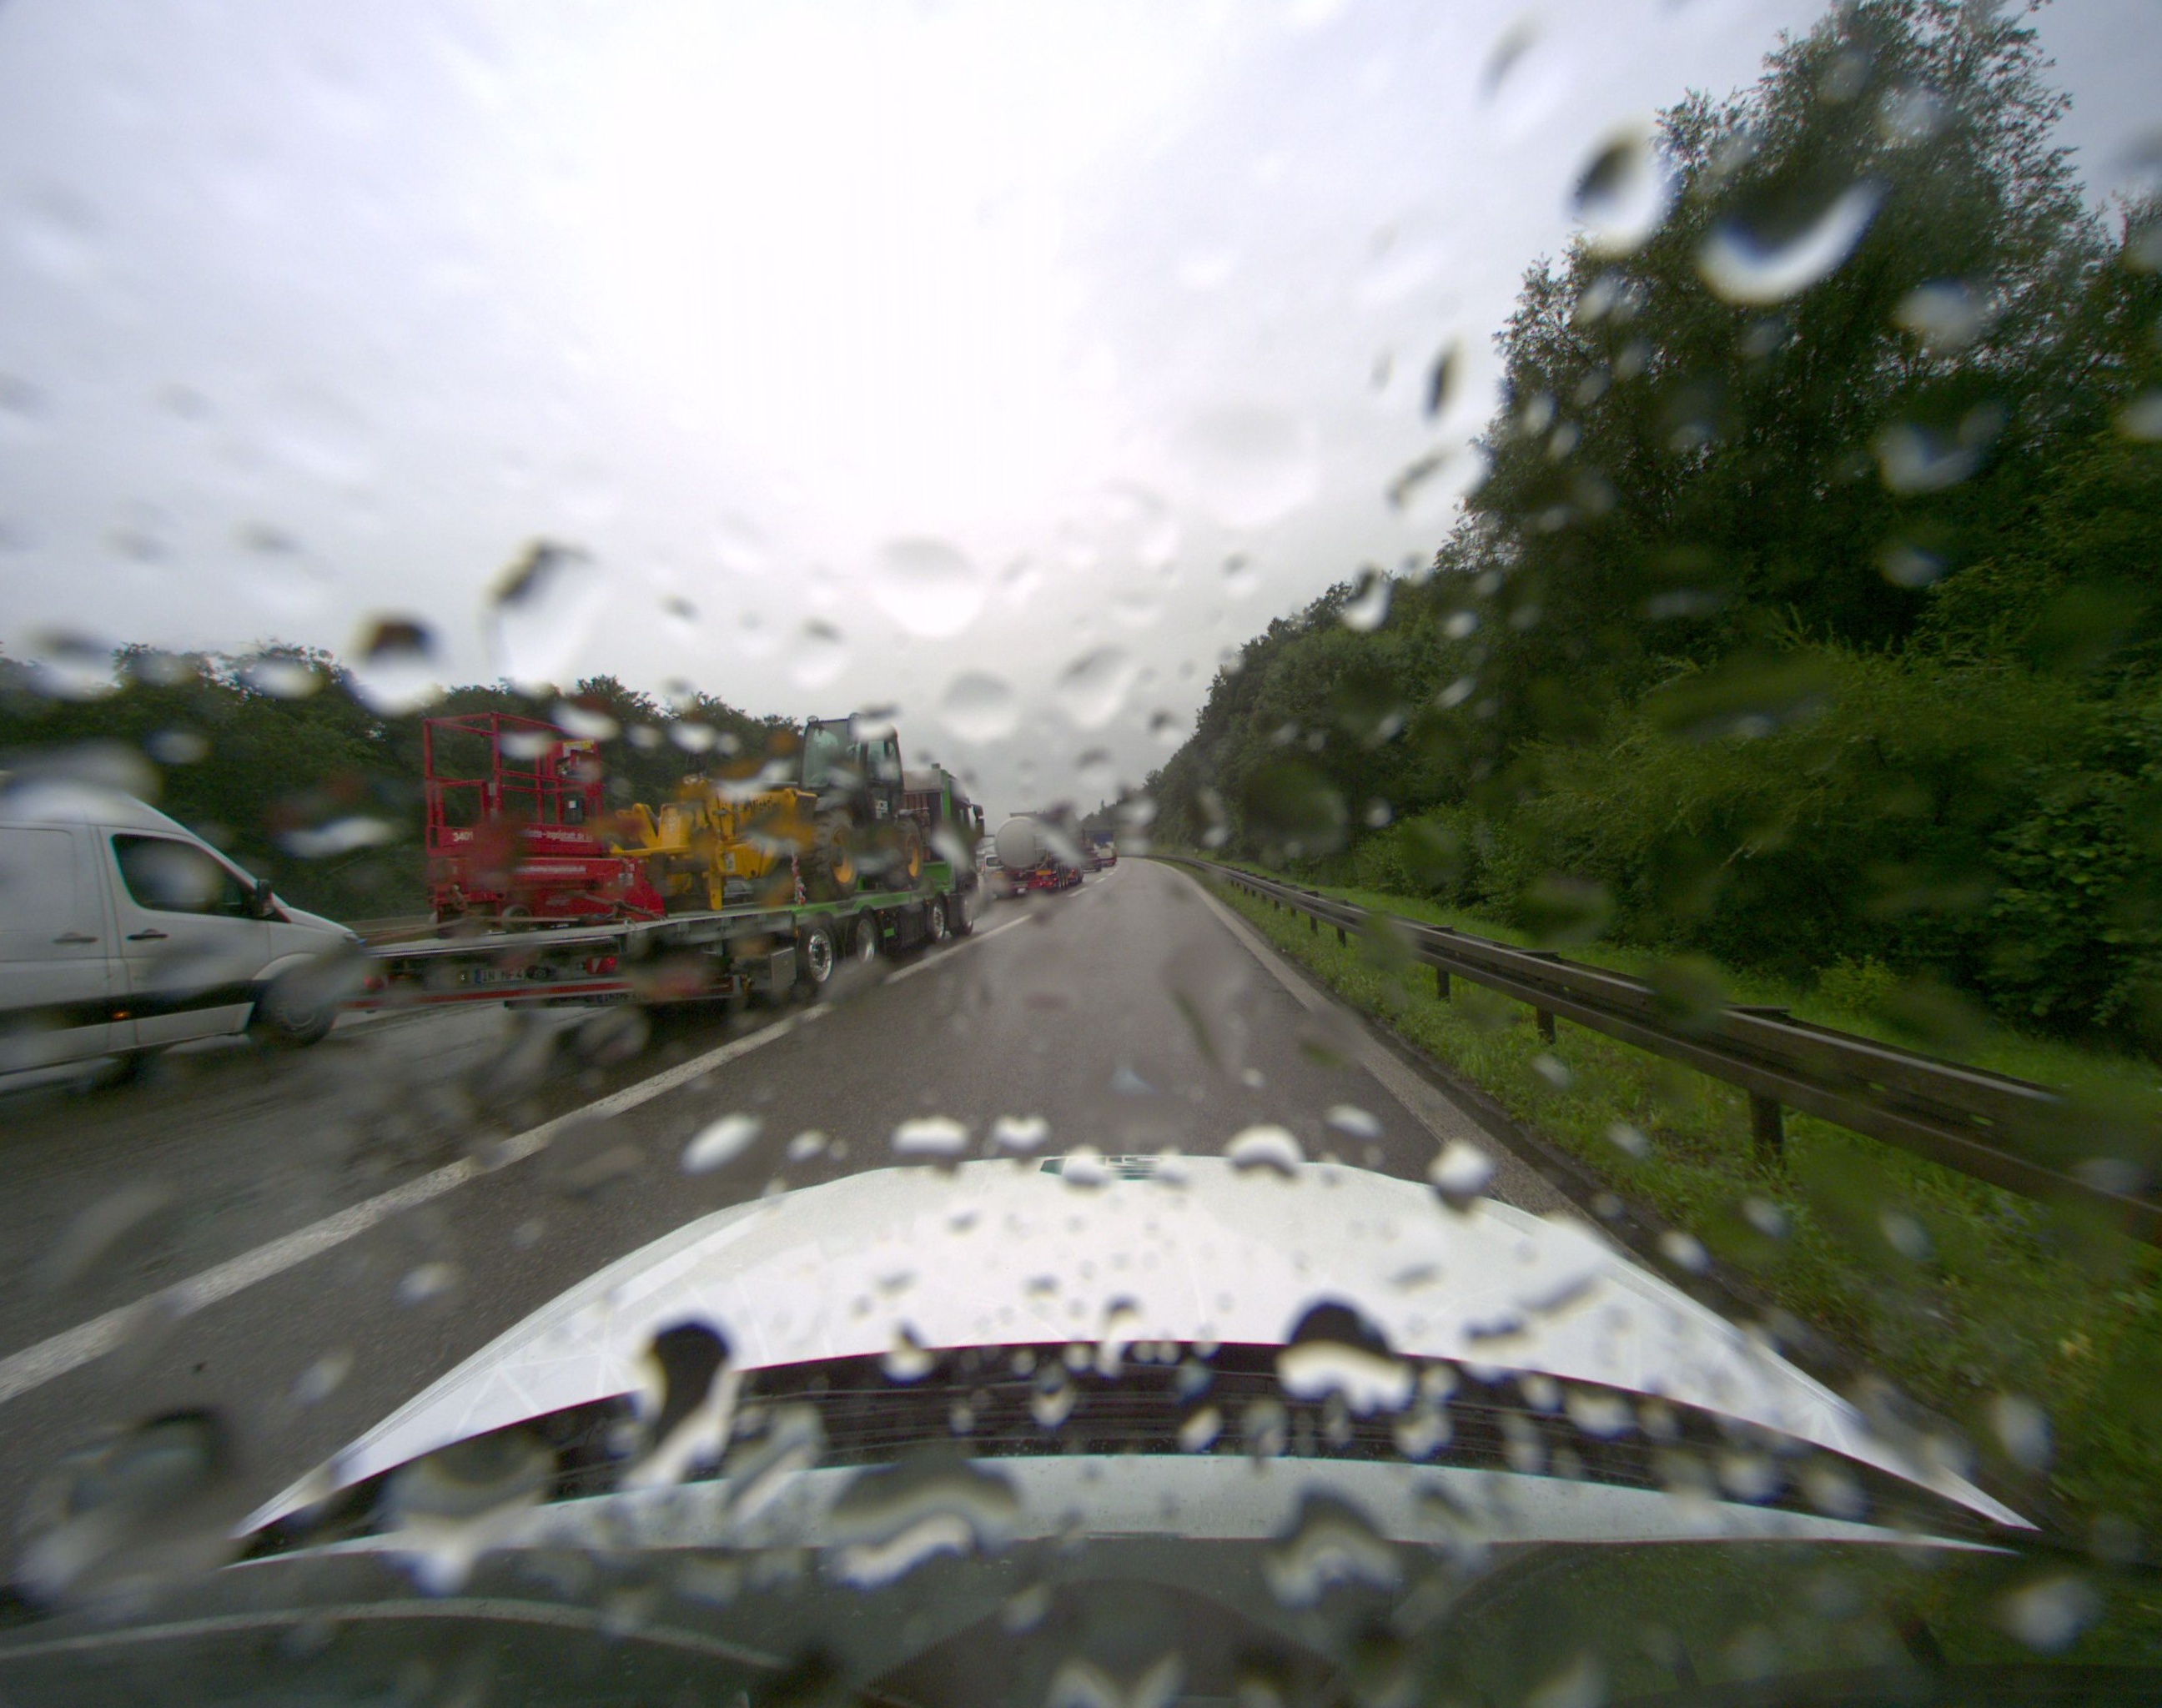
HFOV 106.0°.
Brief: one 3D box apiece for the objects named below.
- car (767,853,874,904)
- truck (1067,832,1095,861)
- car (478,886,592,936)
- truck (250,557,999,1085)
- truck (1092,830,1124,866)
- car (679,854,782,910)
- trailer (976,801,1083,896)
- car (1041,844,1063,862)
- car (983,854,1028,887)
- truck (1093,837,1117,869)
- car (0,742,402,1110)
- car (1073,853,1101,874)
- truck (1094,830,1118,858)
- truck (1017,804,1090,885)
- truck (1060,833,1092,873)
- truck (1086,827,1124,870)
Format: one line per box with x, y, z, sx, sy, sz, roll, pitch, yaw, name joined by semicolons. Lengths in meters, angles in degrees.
-9.605;0.829;30.510;1.984;1.594;4.815;-4;0;5;car
0.067;-1.149;132.712;3.560;4.095;10.891;-4;-2;4;truck
-24.074;2.474;36.093;1.945;1.845;4.008;-3;0;7;car
-3.950;-0.206;11.737;2.816;3.588;11.818;-5;0;6;truck
3.552;-0.688;105.409;3.490;4.268;10.617;-1;-1;5;truck
-13.239;1.050;31.024;1.788;2.014;4.008;-1;-2;7;car
-1.877;-0.224;34.751;2.860;3.288;10.092;-4;0;5;trailer
-3.033;-0.097;85.912;1.789;1.838;4.004;0;-1;4;car
-4.373;0.921;47.734;1.811;1.767;4.005;-3;0;5;car
4.556;-0.071;153.485;4.319;5.764;9.734;0;-2;2;truck
-8.832;0.575;5.962;2.203;2.629;5.856;-4;-1;7;car
0.531;0.779;66.749;1.985;1.636;4.004;0;-1;4;car
4.069;-1.516;131.616;3.740;3.971;11.063;0;-1;2;truck
-1.295;-0.449;41.569;2.863;3.693;5.064;-4;0;5;truck
-0.663;0.021;117.291;3.737;5.499;10.184;0;-2;4;truck
2.731;-0.582;89.679;3.586;4.105;11.567;-4;0;2;truck
